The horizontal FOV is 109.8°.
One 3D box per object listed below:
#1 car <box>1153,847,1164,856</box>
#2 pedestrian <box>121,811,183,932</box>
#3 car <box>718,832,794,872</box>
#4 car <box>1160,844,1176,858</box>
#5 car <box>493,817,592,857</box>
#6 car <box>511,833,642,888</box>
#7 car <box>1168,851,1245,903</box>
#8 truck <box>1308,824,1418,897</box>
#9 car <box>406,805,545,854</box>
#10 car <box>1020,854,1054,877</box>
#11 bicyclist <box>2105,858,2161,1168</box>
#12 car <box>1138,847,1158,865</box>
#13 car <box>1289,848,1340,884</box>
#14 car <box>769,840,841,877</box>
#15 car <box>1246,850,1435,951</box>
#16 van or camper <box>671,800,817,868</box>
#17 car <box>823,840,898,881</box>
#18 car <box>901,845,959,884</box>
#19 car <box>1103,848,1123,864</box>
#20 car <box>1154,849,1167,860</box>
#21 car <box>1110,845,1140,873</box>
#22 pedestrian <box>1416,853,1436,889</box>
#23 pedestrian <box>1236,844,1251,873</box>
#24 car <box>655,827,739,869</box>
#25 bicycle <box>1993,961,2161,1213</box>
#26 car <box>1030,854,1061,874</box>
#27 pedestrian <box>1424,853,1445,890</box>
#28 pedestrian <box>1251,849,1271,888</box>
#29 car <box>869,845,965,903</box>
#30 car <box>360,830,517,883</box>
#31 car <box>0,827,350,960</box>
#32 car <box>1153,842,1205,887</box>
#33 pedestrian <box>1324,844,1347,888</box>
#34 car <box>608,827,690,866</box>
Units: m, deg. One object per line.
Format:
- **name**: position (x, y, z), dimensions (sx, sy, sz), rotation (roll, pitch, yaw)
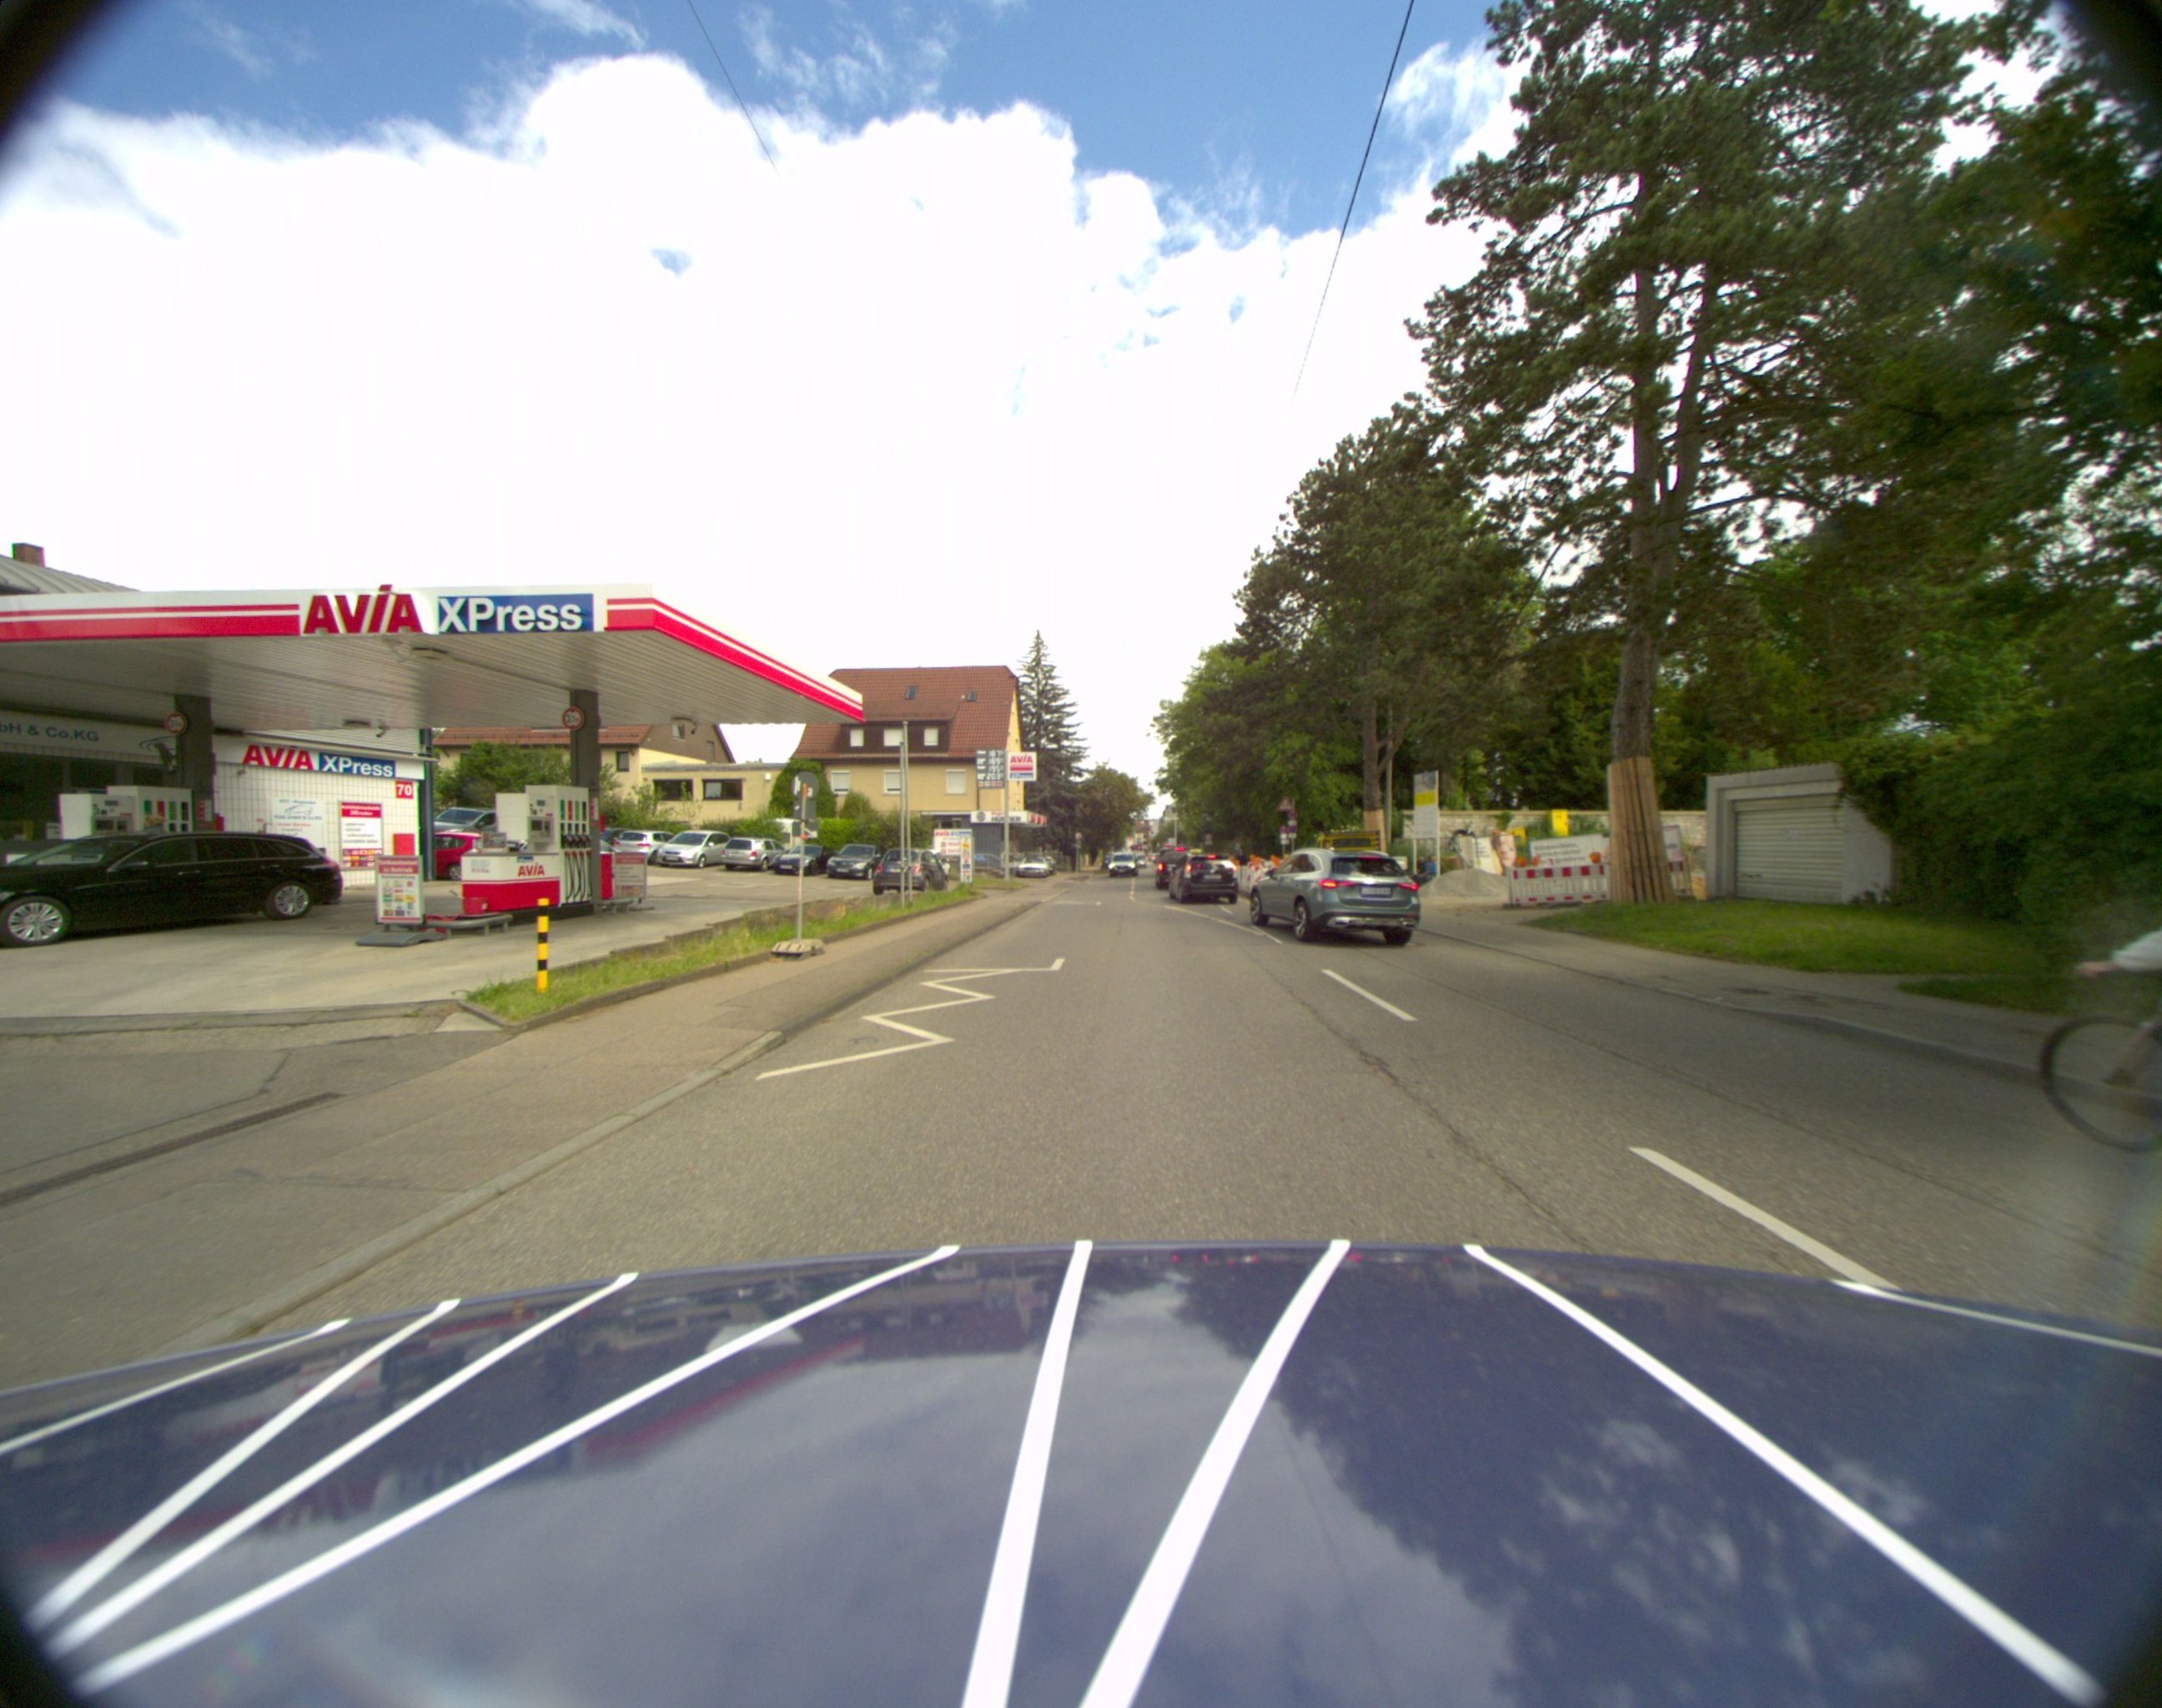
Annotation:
- **car**: position (13.442, -0.442, 132.080), dimensions (1.618, 1.582, 4.162), rotation (2, 2, 3)
- **pedestrian**: position (-15.161, 0.274, 12.418), dimensions (0.585, 1.924, 0.541), rotation (0, 2, 41)
- **car**: position (-14.436, -0.138, 33.990), dimensions (1.641, 1.576, 3.746), rotation (4, 2, 1)
- **car**: position (11.094, -0.391, 96.684), dimensions (1.761, 1.582, 4.162), rotation (2, 2, 3)
- **car**: position (-24.174, -0.776, 34.284), dimensions (1.571, 1.623, 3.951), rotation (4, 2, 1)
- **car**: position (-16.727, 0.151, 25.406), dimensions (1.633, 1.493, 3.746), rotation (4, 4, 5)
- **car**: position (3.964, 0.679, 24.684), dimensions (1.870, 1.518, 4.528), rotation (0, 1, 2)
- **truck**: position (10.371, 0.163, 28.549), dimensions (2.311, 2.406, 6.094), rotation (-1, 1, 5)
- **car**: position (-26.765, -1.066, 33.878), dimensions (1.923, 1.908, 5.136), rotation (4, 2, 1)
- **car**: position (-2.770, 0.682, 48.588), dimensions (1.789, 1.309, 4.480), rotation (1, 1, 1)
- **bicyclist**: position (5.276, 0.749, 3.287), dimensions (0.470, 1.441, 0.864), rotation (1, 1, 1)
- **car**: position (7.120, 0.180, 80.702), dimensions (1.965, 1.797, 4.223), rotation (-2, 1, 4)
- **car**: position (10.572, 0.517, 34.565), dimensions (1.626, 1.499, 3.585), rotation (-2, 1, 8)
- **car**: position (-12.013, 0.152, 33.298), dimensions (1.640, 1.364, 3.746), rotation (4, 2, 1)
- **car**: position (4.663, 0.755, 14.481), dimensions (1.871, 1.608, 4.533), rotation (1, 0, -3)
- **van or camper**: position (-16.612, -0.976, 37.684), dimensions (5.973, 2.834, 2.531), rotation (4, 1, 1)
- **car**: position (-9.555, 0.235, 33.350), dimensions (1.716, 1.533, 4.656), rotation (4, 2, 2)
- **car**: position (-6.790, 0.422, 34.471), dimensions (1.638, 1.520, 4.203), rotation (4, 2, 1)
- **car**: position (3.391, 0.235, 79.132), dimensions (1.938, 1.483, 4.023), rotation (-2, 1, 3)
- **car**: position (12.115, 0.041, 115.478), dimensions (1.761, 1.582, 4.162), rotation (2, 2, 3)
- **car**: position (3.174, 0.331, 54.215), dimensions (1.965, 1.797, 4.429), rotation (-2, 1, 4)
- **pedestrian**: position (13.444, 0.650, 29.626), dimensions (0.574, 1.377, 0.539), rotation (0, 2, 41)
- **pedestrian**: position (10.692, 0.299, 49.953), dimensions (0.835, 1.837, 1.022), rotation (-1, 2, 7)
- **car**: position (-16.995, -0.317, 33.868), dimensions (1.571, 1.674, 4.048), rotation (4, 2, 1)
- **bicycle**: position (5.277, 1.142, 3.260), dimensions (0.455, 1.080, 1.870), rotation (1, 1, 1)
- **car**: position (-2.490, 0.676, 53.697), dimensions (1.789, 1.276, 4.316), rotation (1, 1, 3)
- **pedestrian**: position (13.358, 0.661, 28.731), dimensions (0.574, 1.377, 0.539), rotation (0, 2, 41)
- **pedestrian**: position (7.537, 0.611, 31.771), dimensions (0.538, 1.592, 0.570), rotation (-3, 2, -42)
- **car**: position (-5.179, 0.566, 24.546), dimensions (1.618, 1.587, 4.161), rotation (6, 1, 7)
- **car**: position (-20.316, 0.047, 24.113), dimensions (3.750, 1.452, 1.621), rotation (2, 4, 7)
- **car**: position (-13.674, 0.439, 10.896), dimensions (1.633, 1.599, 4.571), rotation (-1, 2, 5)
- **car**: position (4.401, 0.438, 34.706), dimensions (1.913, 1.940, 4.914), rotation (0, 0, 2)
- **pedestrian**: position (9.092, 0.413, 27.181), dimensions (0.575, 1.538, 0.654), rotation (-2, 2, -1)
- **car**: position (-19.189, -0.379, 33.919), dimensions (1.571, 1.560, 3.498), rotation (4, 2, 1)
